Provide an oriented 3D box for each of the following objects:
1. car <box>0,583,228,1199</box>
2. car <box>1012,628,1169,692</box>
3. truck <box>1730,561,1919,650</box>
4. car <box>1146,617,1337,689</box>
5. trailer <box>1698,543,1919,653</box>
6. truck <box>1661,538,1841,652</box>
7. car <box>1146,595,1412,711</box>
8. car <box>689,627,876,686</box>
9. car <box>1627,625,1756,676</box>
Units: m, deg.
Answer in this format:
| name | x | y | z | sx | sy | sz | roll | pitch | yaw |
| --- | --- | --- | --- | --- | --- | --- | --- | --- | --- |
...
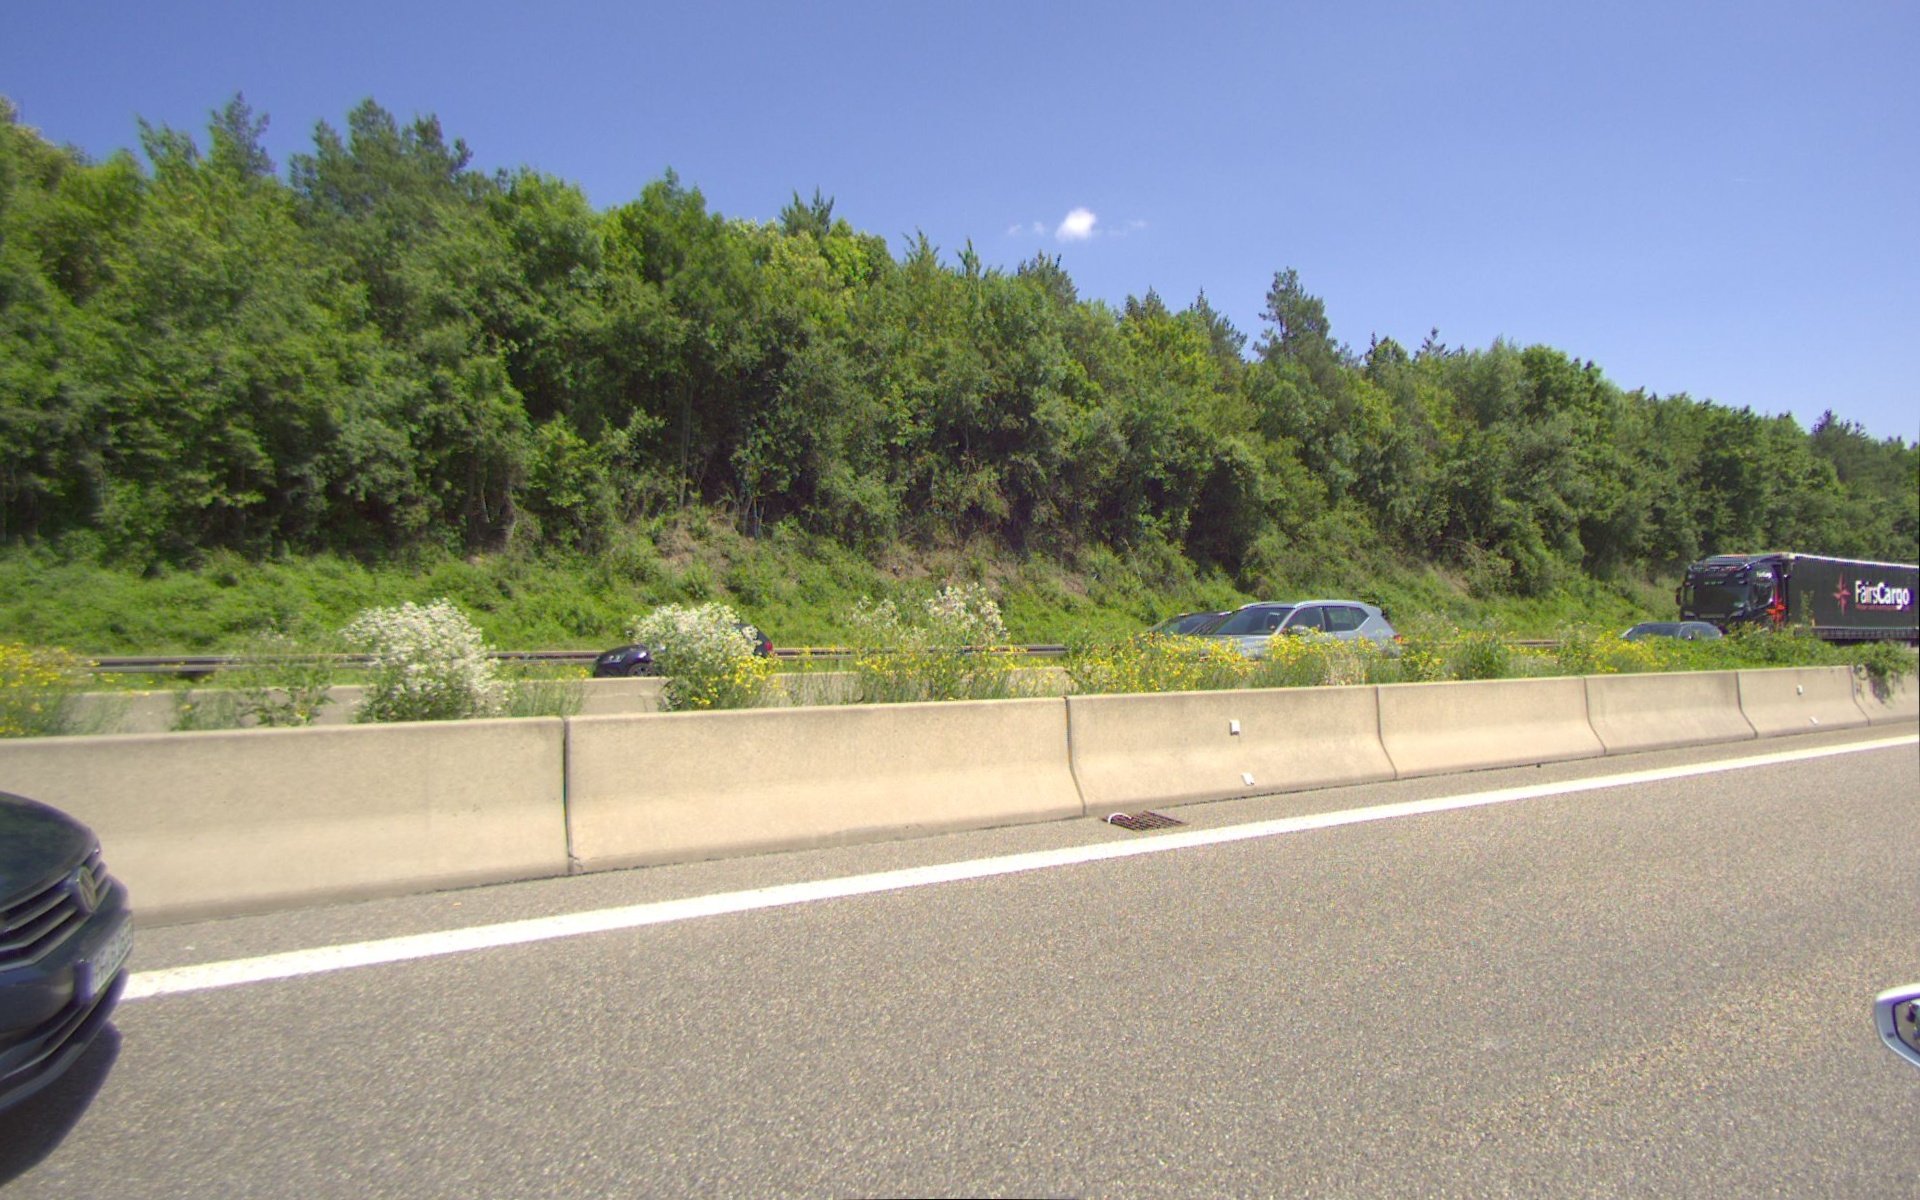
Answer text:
| name | x | y | z | sx | sy | sz | roll | pitch | yaw |
| --- | --- | --- | --- | --- | --- | --- | --- | --- | --- |
| car | -4.329 | 0.668 | 1.790 | 4.674 | 1.446 | 1.725 | 1 | -2 | -30 |
| car | 3.418 | 1.517 | 26.144 | 3.953 | 1.539 | 1.556 | 1 | -2 | -31 |
| truck | 45.775 | 0.490 | 52.557 | 16.078 | 4.035 | 3.022 | 2 | -2 | -31 |
| car | 5.915 | 1.064 | 21.003 | 3.953 | 1.384 | 1.556 | 1 | -2 | -31 |
| trailer | 36.014 | 0.173 | 42.176 | 13.727 | 4.026 | 2.893 | 2 | -3 | -31 |
| truck | 30.867 | -0.032 | 39.138 | 7.678 | 4.026 | 2.893 | 2 | -3 | -30 |
| car | 4.783 | 0.747 | 14.927 | 3.953 | 1.539 | 1.556 | 1 | -2 | -31 |
| car | -4.025 | 1.245 | 22.960 | 3.953 | 1.229 | 1.556 | 1 | -2 | -31 |
| car | 20.893 | 1.403 | 28.661 | 3.953 | 1.384 | 1.556 | 1 | -2 | -31 |
